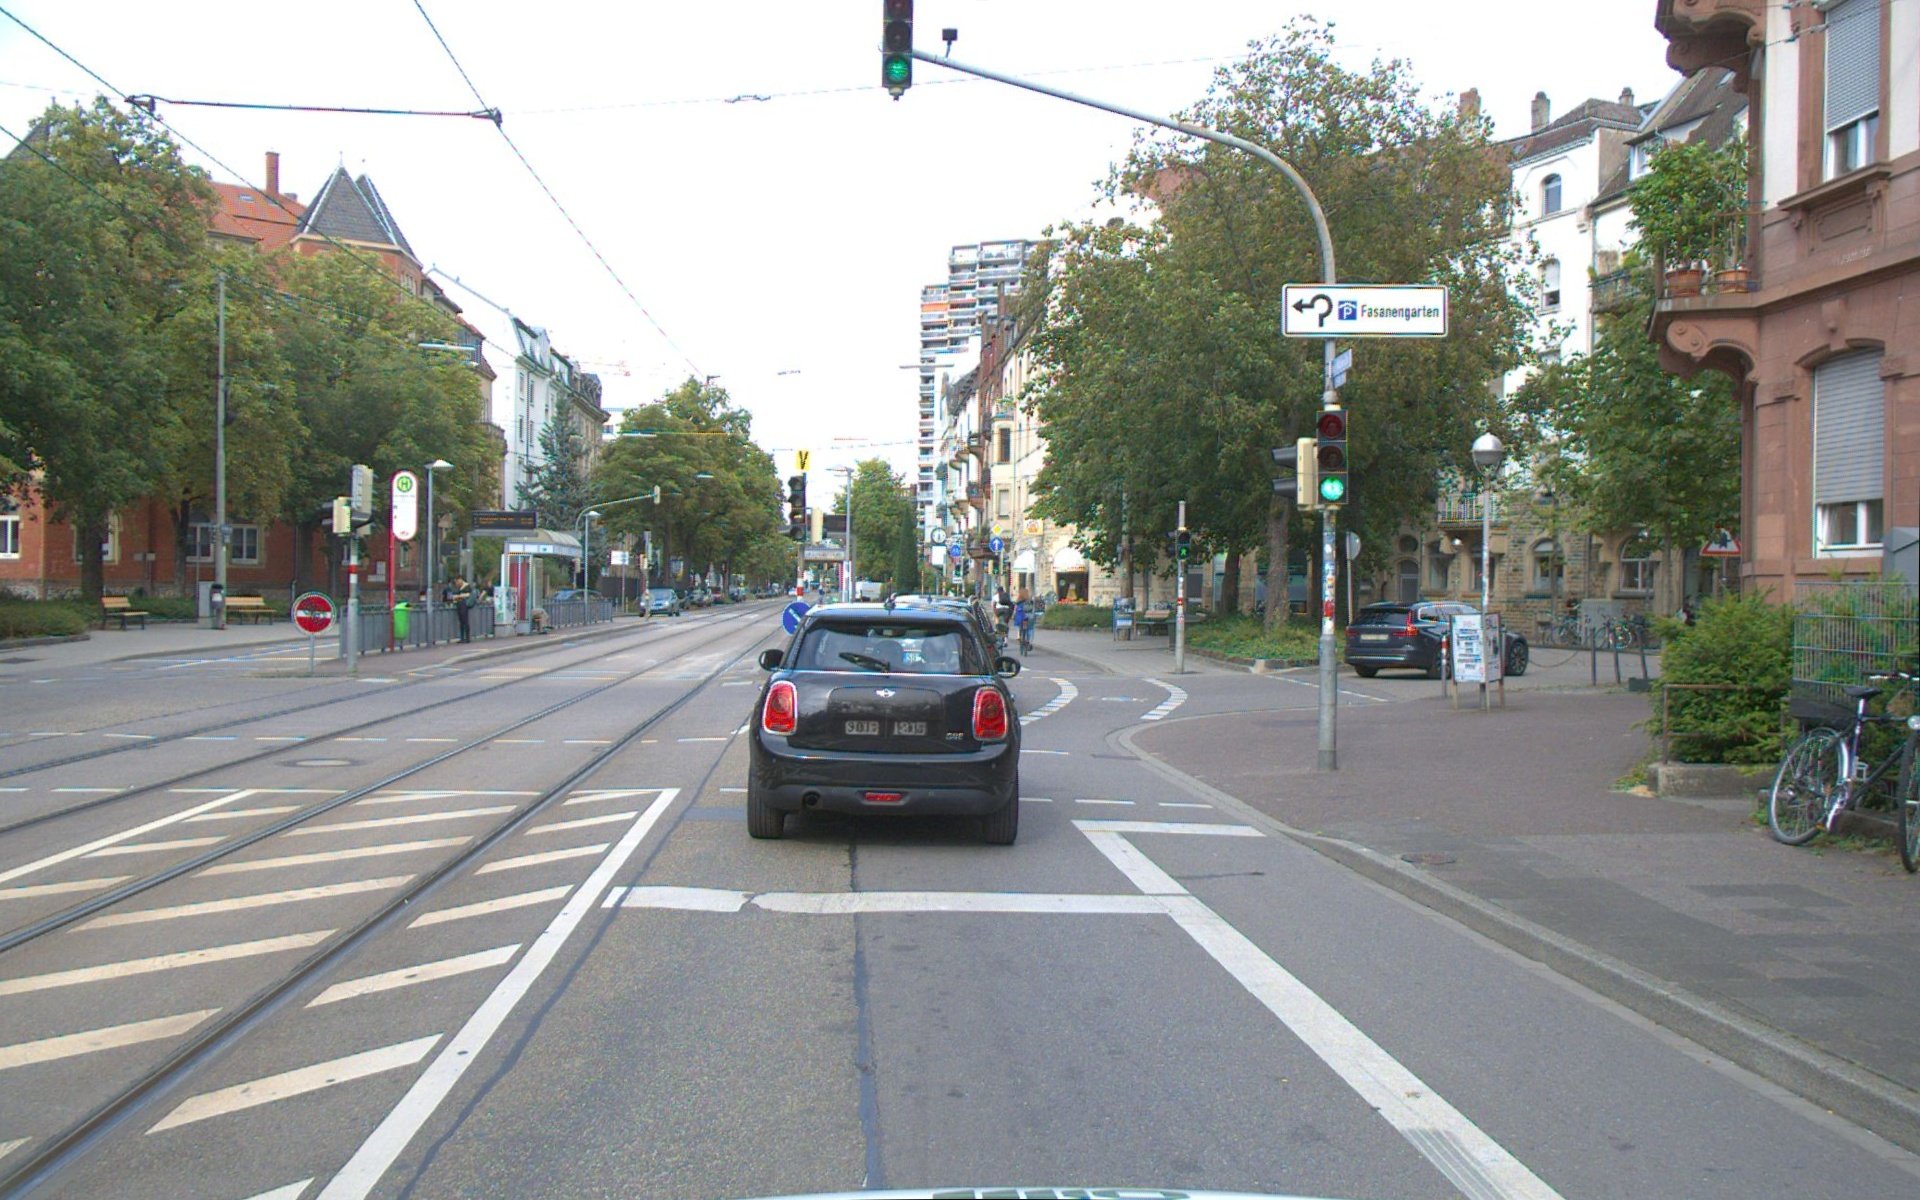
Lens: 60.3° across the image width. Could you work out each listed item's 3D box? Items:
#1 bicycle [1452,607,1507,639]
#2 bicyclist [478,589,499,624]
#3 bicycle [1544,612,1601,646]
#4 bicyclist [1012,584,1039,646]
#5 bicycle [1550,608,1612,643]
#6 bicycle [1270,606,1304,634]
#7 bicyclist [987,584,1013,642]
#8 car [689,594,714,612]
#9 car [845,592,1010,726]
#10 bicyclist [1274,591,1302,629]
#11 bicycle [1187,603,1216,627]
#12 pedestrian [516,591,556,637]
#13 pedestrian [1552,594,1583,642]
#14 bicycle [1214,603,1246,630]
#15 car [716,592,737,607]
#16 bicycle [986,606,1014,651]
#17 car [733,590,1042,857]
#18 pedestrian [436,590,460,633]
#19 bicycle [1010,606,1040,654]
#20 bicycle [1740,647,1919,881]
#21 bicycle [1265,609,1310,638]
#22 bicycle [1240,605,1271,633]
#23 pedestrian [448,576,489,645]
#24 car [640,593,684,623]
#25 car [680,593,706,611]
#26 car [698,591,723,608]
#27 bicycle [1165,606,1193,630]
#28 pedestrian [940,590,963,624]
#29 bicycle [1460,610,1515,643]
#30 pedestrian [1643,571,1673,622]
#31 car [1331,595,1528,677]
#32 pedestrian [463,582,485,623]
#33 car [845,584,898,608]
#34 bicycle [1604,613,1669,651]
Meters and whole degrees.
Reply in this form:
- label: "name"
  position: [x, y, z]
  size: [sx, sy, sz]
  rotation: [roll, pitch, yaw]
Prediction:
- label: "bicycle"
  position: [19.046, 0.858, 60.660]
  size: [1.852, 1.147, 0.532]
  rotation: [1, 0, -8]
- label: "bicyclist"
  position: [-18.988, 0.262, 66.639]
  size: [0.647, 1.363, 0.835]
  rotation: [0, 0, -4]
- label: "bicycle"
  position: [20.683, 0.982, 55.859]
  size: [1.856, 1.147, 0.530]
  rotation: [0, 0, -16]
- label: "bicyclist"
  position: [1.665, 0.386, 42.451]
  size: [0.583, 1.577, 1.013]
  rotation: [0, 0, -4]
- label: "bicycle"
  position: [20.636, 0.834, 54.950]
  size: [1.848, 1.147, 0.533]
  rotation: [1, 0, 1]
- label: "bicycle"
  position: [13.622, 0.814, 68.881]
  size: [0.654, 1.147, 1.885]
  rotation: [0, 0, 37]
- label: "bicyclist"
  position: [1.112, 0.356, 46.074]
  size: [0.670, 1.591, 0.998]
  rotation: [0, 0, -2]
- label: "car"
  position: [-21.453, 0.227, 137.497]
  size: [1.732, 1.420, 3.996]
  rotation: [0, 0, -5]
- label: "car"
  position: [-0.419, 0.676, 21.051]
  size: [1.888, 1.536, 3.999]
  rotation: [0, 0, -1]
- label: "bicyclist"
  position: [13.006, 0.380, 65.641]
  size: [0.611, 1.498, 0.902]
  rotation: [0, 0, -39]
- label: "bicycle"
  position: [10.520, 0.650, 72.108]
  size: [0.522, 0.989, 1.642]
  rotation: [0, 0, 37]
- label: "pedestrian"
  position: [-12.265, 0.393, 47.879]
  size: [1.039, 1.316, 0.984]
  rotation: [0, 0, -10]
- label: "pedestrian"
  position: [21.812, 0.626, 59.422]
  size: [0.717, 1.705, 0.833]
  rotation: [1, 0, -11]
- label: "bicycle"
  position: [11.559, 0.697, 70.776]
  size: [0.522, 1.147, 1.885]
  rotation: [0, 0, 37]
- label: "car"
  position: [-25.266, -0.070, 179.310]
  size: [1.954, 1.579, 3.997]
  rotation: [1, 0, -4]
- label: "bicycle"
  position: [1.110, 0.782, 46.135]
  size: [0.670, 1.190, 1.696]
  rotation: [0, 0, -2]
- label: "car"
  position: [-0.452, 0.708, 11.499]
  size: [1.716, 1.466, 3.999]
  rotation: [2, 0, -1]
- label: "pedestrian"
  position: [-20.612, 0.457, 66.543]
  size: [0.817, 1.733, 0.731]
  rotation: [0, 0, -10]
- label: "bicycle"
  position: [1.661, 0.757, 42.455]
  size: [0.586, 1.190, 1.695]
  rotation: [0, 0, -4]
- label: "bicycle"
  position: [5.135, 0.857, 9.258]
  size: [0.658, 1.125, 1.671]
  rotation: [0, 0, -4]
- label: "bicycle"
  position: [12.990, 0.923, 65.660]
  size: [0.611, 1.095, 1.795]
  rotation: [0, 0, -39]
- label: "bicycle"
  position: [12.514, 0.787, 70.019]
  size: [0.522, 1.147, 1.885]
  rotation: [0, 0, 37]
- label: "pedestrian"
  position: [-11.862, 0.257, 39.918]
  size: [0.836, 1.649, 0.841]
  rotation: [0, 0, -10]
- label: "car"
  position: [-15.798, 0.423, 87.713]
  size: [1.717, 1.466, 3.998]
  rotation: [2, 0, -3]
- label: "car"
  position: [-20.920, 0.149, 129.848]
  size: [1.732, 1.420, 3.996]
  rotation: [0, 0, -5]
- label: "car"
  position: [-23.576, -0.088, 156.421]
  size: [1.954, 1.579, 3.997]
  rotation: [1, 0, -4]
- label: "bicycle"
  position: [9.660, 0.790, 72.884]
  size: [0.441, 1.073, 1.642]
  rotation: [0, 0, 37]
- label: "pedestrian"
  position: [-0.423, 0.354, 83.286]
  size: [0.720, 1.703, 0.830]
  rotation: [-2, 1, 42]
- label: "bicycle"
  position: [19.167, 0.964, 60.083]
  size: [1.852, 1.147, 0.532]
  rotation: [1, 0, -8]
- label: "pedestrian"
  position: [22.733, -0.120, 53.874]
  size: [0.815, 1.651, 0.733]
  rotation: [1, 0, 16]
- label: "car"
  position: [9.148, 0.657, 32.023]
  size: [4.446, 1.466, 1.729]
  rotation: [0, 0, -45]
- label: "pedestrian"
  position: [-20.587, 0.101, 70.085]
  size: [0.817, 1.733, 0.731]
  rotation: [0, 0, -10]
- label: "car"
  position: [-8.696, -0.419, 163.147]
  size: [5.002, 2.312, 2.357]
  rotation: [0, 0, -45]
- label: "bicycle"
  position: [21.249, 0.998, 51.948]
  size: [1.850, 1.147, 0.532]
  rotation: [1, 0, -3]
